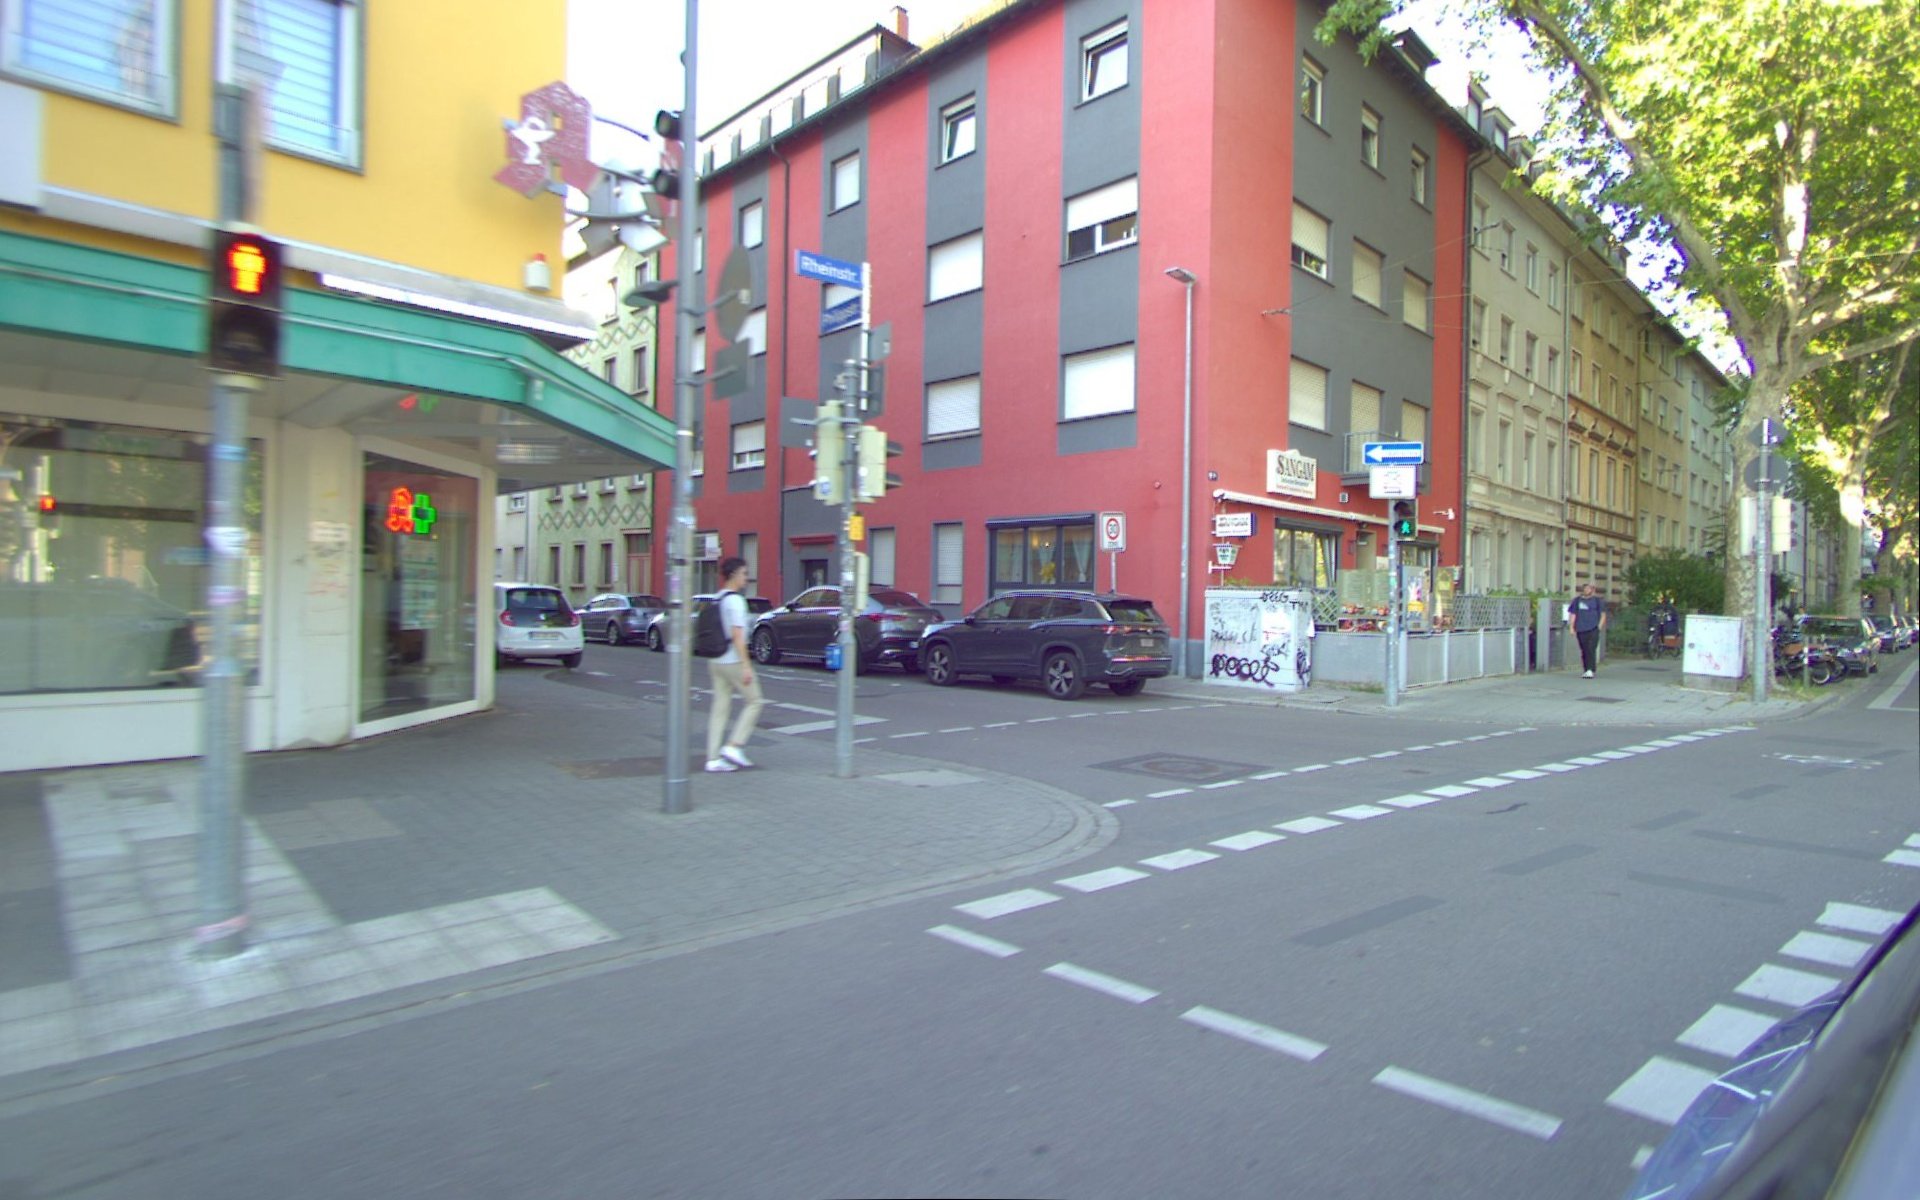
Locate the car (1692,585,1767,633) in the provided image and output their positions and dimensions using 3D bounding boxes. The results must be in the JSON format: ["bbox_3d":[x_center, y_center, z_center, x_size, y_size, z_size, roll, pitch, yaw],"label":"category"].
[{"bbox_3d":[33.330,0.363,43.776,1.930,1.898,4.601,4,3,45],"label":"car"}]

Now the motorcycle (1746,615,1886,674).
[{"bbox_3d":[18.594,0.948,22.046,2.185,1.125,0.660,3,0,20],"label":"motorcycle"}]

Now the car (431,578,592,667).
[{"bbox_3d":[-8.474,0.365,19.025,1.743,1.503,3.313,0,0,-44],"label":"car"}]

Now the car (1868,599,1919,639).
[{"bbox_3d":[42.271,0.841,45.573,1.800,1.628,4.299,4,3,45],"label":"car"}]

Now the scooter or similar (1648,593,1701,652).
[{"bbox_3d":[18.996,0.573,26.882,2.502,1.488,0.665,0,0,-44],"label":"scooter or similar"}]

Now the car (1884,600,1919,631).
[{"bbox_3d":[51.473,0.815,54.868,1.800,1.521,4.299,4,3,45],"label":"car"}]

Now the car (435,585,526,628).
[{"bbox_3d":[-16.979,0.194,35.764,3.738,1.420,1.744,1,0,45],"label":"car"}]

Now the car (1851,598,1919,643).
[{"bbox_3d":[37.037,0.782,40.481,1.800,1.628,4.299,4,3,45],"label":"car"}]

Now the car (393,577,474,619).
[{"bbox_3d":[-20.659,-0.107,39.671,3.738,1.581,1.744,1,0,45],"label":"car"}]

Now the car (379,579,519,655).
[{"bbox_3d":[-11.172,0.332,22.006,1.742,1.503,3.769,2,-1,-42],"label":"car"}]

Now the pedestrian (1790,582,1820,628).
[{"bbox_3d":[30.162,0.175,36.120,0.690,1.600,0.727,0,1,-44],"label":"pedestrian"}]

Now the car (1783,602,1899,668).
[{"bbox_3d":[22.365,0.821,25.641,4.297,1.419,1.800,0,3,-44],"label":"car"}]

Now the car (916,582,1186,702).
[{"bbox_3d":[1.366,0.569,16.594,1.743,1.708,4.344,0,0,-44],"label":"car"}]

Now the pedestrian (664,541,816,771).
[{"bbox_3d":[-1.847,0.461,8.513,0.879,1.803,0.744,6,-4,-44],"label":"pedestrian"}]

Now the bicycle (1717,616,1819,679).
[{"bbox_3d":[15.692,0.915,19.656,1.762,1.125,0.622,3,0,-17],"label":"bicycle"}]

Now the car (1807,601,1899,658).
[{"bbox_3d":[26.547,0.800,30.044,1.799,1.473,4.440,4,3,44],"label":"car"}]

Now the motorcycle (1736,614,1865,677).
[{"bbox_3d":[17.081,0.910,20.595,1.856,1.125,0.785,3,0,4],"label":"motorcycle"}]

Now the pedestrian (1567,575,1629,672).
[{"bbox_3d":[11.909,0.413,18.887,0.802,1.731,0.727,0,3,-44],"label":"pedestrian"}]

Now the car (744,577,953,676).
[{"bbox_3d":[-2.343,0.444,20.303,1.743,1.762,4.605,0,0,-44],"label":"car"}]

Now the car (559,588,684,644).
[{"bbox_3d":[-9.413,0.392,27.974,3.844,1.420,1.744,1,0,45],"label":"car"}]

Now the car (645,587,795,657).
[{"bbox_3d":[-5.764,0.464,24.067,3.802,1.504,1.744,1,0,45],"label":"car"}]

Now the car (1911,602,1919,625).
[{"bbox_3d":[71.382,1.042,74.491,4.038,1.628,1.800,0,3,-45],"label":"car"}]
